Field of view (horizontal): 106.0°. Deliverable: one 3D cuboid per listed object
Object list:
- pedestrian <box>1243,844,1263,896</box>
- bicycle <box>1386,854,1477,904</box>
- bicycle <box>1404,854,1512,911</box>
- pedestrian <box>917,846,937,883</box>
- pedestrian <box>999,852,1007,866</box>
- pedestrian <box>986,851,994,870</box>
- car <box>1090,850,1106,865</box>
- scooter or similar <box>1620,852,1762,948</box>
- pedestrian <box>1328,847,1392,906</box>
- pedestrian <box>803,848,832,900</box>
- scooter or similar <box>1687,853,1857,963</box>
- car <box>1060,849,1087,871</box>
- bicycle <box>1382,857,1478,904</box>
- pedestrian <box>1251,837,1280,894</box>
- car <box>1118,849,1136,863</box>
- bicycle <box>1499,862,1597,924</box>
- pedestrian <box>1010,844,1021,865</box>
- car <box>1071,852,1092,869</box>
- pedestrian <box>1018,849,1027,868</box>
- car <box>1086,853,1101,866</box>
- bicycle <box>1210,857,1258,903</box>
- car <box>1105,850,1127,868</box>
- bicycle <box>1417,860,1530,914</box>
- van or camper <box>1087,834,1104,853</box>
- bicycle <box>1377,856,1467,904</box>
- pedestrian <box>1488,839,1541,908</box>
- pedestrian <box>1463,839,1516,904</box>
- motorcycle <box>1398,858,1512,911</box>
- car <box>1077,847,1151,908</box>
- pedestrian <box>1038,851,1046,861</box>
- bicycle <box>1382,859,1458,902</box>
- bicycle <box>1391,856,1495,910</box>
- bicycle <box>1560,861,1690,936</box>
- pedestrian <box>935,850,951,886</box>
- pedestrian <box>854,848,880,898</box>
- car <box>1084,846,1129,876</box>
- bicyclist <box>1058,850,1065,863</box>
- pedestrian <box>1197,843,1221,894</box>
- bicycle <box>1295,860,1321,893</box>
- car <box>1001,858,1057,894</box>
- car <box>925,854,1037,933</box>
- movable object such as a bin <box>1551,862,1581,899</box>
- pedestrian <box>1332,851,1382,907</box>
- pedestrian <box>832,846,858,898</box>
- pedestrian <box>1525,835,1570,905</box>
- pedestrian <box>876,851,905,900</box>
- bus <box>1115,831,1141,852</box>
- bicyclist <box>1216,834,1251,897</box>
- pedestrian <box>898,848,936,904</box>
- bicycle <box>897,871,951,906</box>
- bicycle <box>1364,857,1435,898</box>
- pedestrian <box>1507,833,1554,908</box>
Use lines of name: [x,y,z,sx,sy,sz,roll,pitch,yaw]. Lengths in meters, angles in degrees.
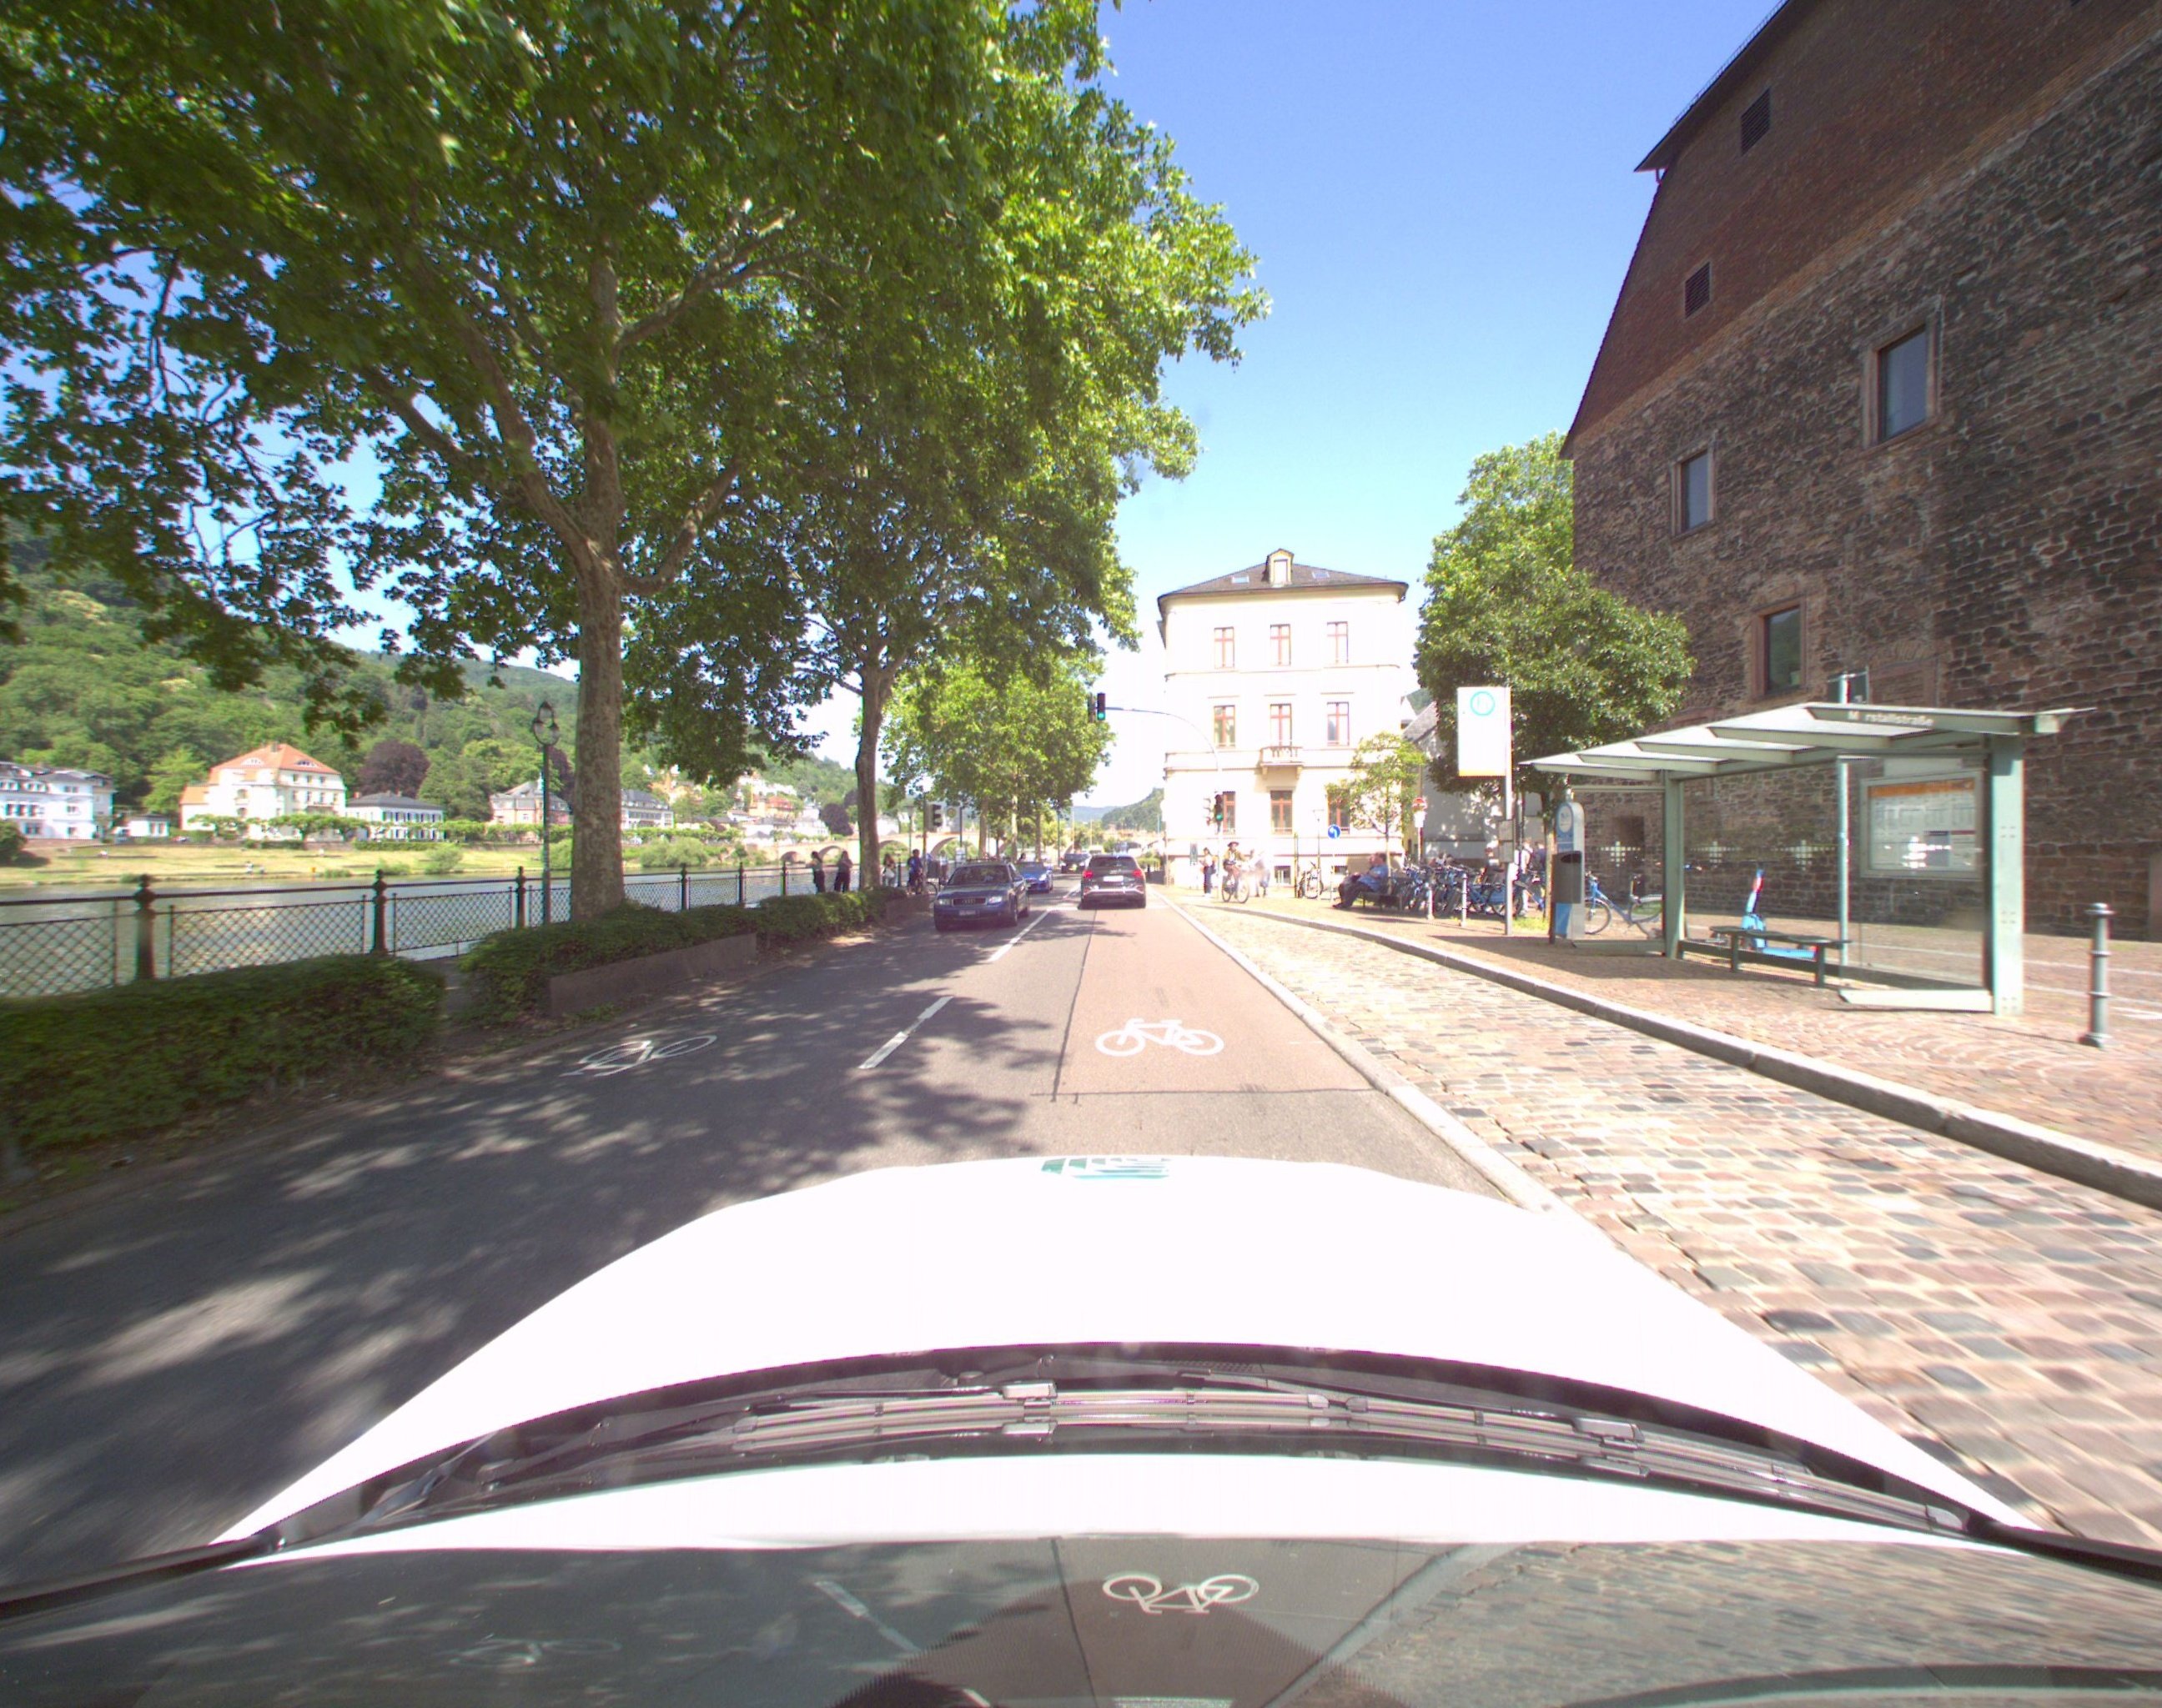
pedestrian: [5.827,0.537,27.612,0.525,1.712,0.666,0,0,1]
bicycle: [8.925,0.629,20.781,2.072,1.198,0.527,1,1,0]
bicycle: [8.439,0.618,18.284,2.072,1.198,0.776,1,1,0]
pedestrian: [-7.354,0.486,38.899,0.708,1.764,0.972,0,0,1]
pedestrian: [-8.600,0.556,89.691,0.689,1.616,0.665,0,0,10]
pedestrian: [-9.498,0.645,85.178,0.691,1.945,0.887,0,0,1]
car: [1.822,0.389,88.827,1.695,1.445,4.092,1,1,1]
scooter or similar: [8.259,0.605,11.067,1.425,1.215,0.652,2,0,1]
pedestrian: [6.361,0.506,18.608,1.243,1.308,0.694,0,0,0]
pedestrian: [-8.332,0.629,25.802,0.547,1.608,0.911,2,0,2]
scooter or similar: [8.106,0.613,9.594,1.425,1.215,0.652,2,0,1]
car: [-0.525,0.446,62.296,1.694,1.518,4.409,-2,0,4]
bicycle: [8.467,0.641,19.789,2.072,1.085,0.604,1,1,0]
pedestrian: [6.120,0.367,27.013,0.621,1.852,0.722,0,0,-35]
car: [5.677,0.214,100.583,1.916,1.553,4.842,-1,0,7]
bicycle: [9.259,0.765,16.200,1.539,1.198,0.727,0,0,8]
pedestrian: [-5.074,0.048,63.376,0.759,1.586,0.696,0,0,1]
car: [0.018,0.594,75.898,1.731,1.518,4.399,-1,0,-3]
pedestrian: [-5.210,0.395,72.972,0.654,1.682,0.759,2,0,1]
car: [1.556,0.671,98.873,1.694,1.458,4.005,-1,0,3]
bicycle: [4.008,0.652,21.474,0.688,1.129,2.005,0,0,-7]
car: [3.155,0.394,73.723,1.919,1.553,4.835,-1,0,2]
bicycle: [8.394,0.690,17.467,2.017,1.065,0.801,1,1,0]
van or camper: [2.027,-1.432,113.893,2.078,2.557,7.098,0,0,3]
bicycle: [8.938,0.680,21.383,2.072,1.198,0.608,1,1,0]
pedestrian: [11.244,0.496,21.144,0.804,1.753,0.904,0,0,-17]
pedestrian: [11.408,0.484,22.763,0.990,1.765,0.920,0,0,-22]
motorcycle: [8.376,0.664,18.285,2.197,1.103,0.776,1,1,0]
car: [0.942,0.608,23.766,1.919,1.553,4.834,-1,0,2]
pedestrian: [-5.085,0.274,106.818,0.930,1.281,0.852,0,0,11]
bicycle: [9.169,0.715,22.039,1.786,1.110,0.608,1,1,0]
bicycle: [8.458,0.668,19.068,2.072,1.198,0.776,1,1,0]
bicycle: [8.818,0.680,13.280,0.549,1.131,1.722,0,0,-27]
pedestrian: [-6.293,0.621,37.152,0.492,1.617,0.992,0,0,2]
pedestrian: [-7.578,0.661,28.817,0.650,1.713,0.793,-1,0,1]
car: [1.379,0.336,42.236,1.917,1.461,4.840,0,0,6]
bicyclist: [-2.446,0.302,103.192,0.716,1.583,1.090,0,0,4]
pedestrian: [4.307,0.483,27.344,0.712,1.675,0.682,0,0,1]
bicycle: [7.224,0.722,25.987,0.505,1.004,1.581,1,-3,4]
car: [-2.076,0.849,33.720,1.834,1.269,4.263,-4,0,1]
car: [-2.157,0.799,18.816,1.694,1.518,4.409,-3,0,4]
movable object such as a bin: [15.068,0.802,25.318,0.487,1.124,0.752,0,0,2]
pedestrian: [6.524,0.582,19.285,0.957,1.282,0.694,0,0,0]
pedestrian: [-7.867,0.582,27.137,0.616,1.700,0.696,1,0,1]
pedestrian: [13.245,0.452,23.113,0.807,1.942,0.784,0,0,-26]
pedestrian: [-6.782,0.754,29.083,0.832,1.713,0.783,0,0,1]
bus: [8.870,-2.310,150.750,2.613,3.564,13.028,0,-1,13]
bicyclist: [4.022,0.303,21.497,0.708,1.628,0.885,0,0,-5]
pedestrian: [-5.353,0.709,26.613,1.012,1.773,0.774,0,0,42]
bicycle: [-5.089,1.103,26.406,1.808,0.925,0.747,6,3,42]
bicycle: [9.062,0.671,23.169,1.786,1.110,0.563,1,1,0]
pedestrian: [12.050,0.422,21.859,0.655,1.960,0.936,0,0,-13]
